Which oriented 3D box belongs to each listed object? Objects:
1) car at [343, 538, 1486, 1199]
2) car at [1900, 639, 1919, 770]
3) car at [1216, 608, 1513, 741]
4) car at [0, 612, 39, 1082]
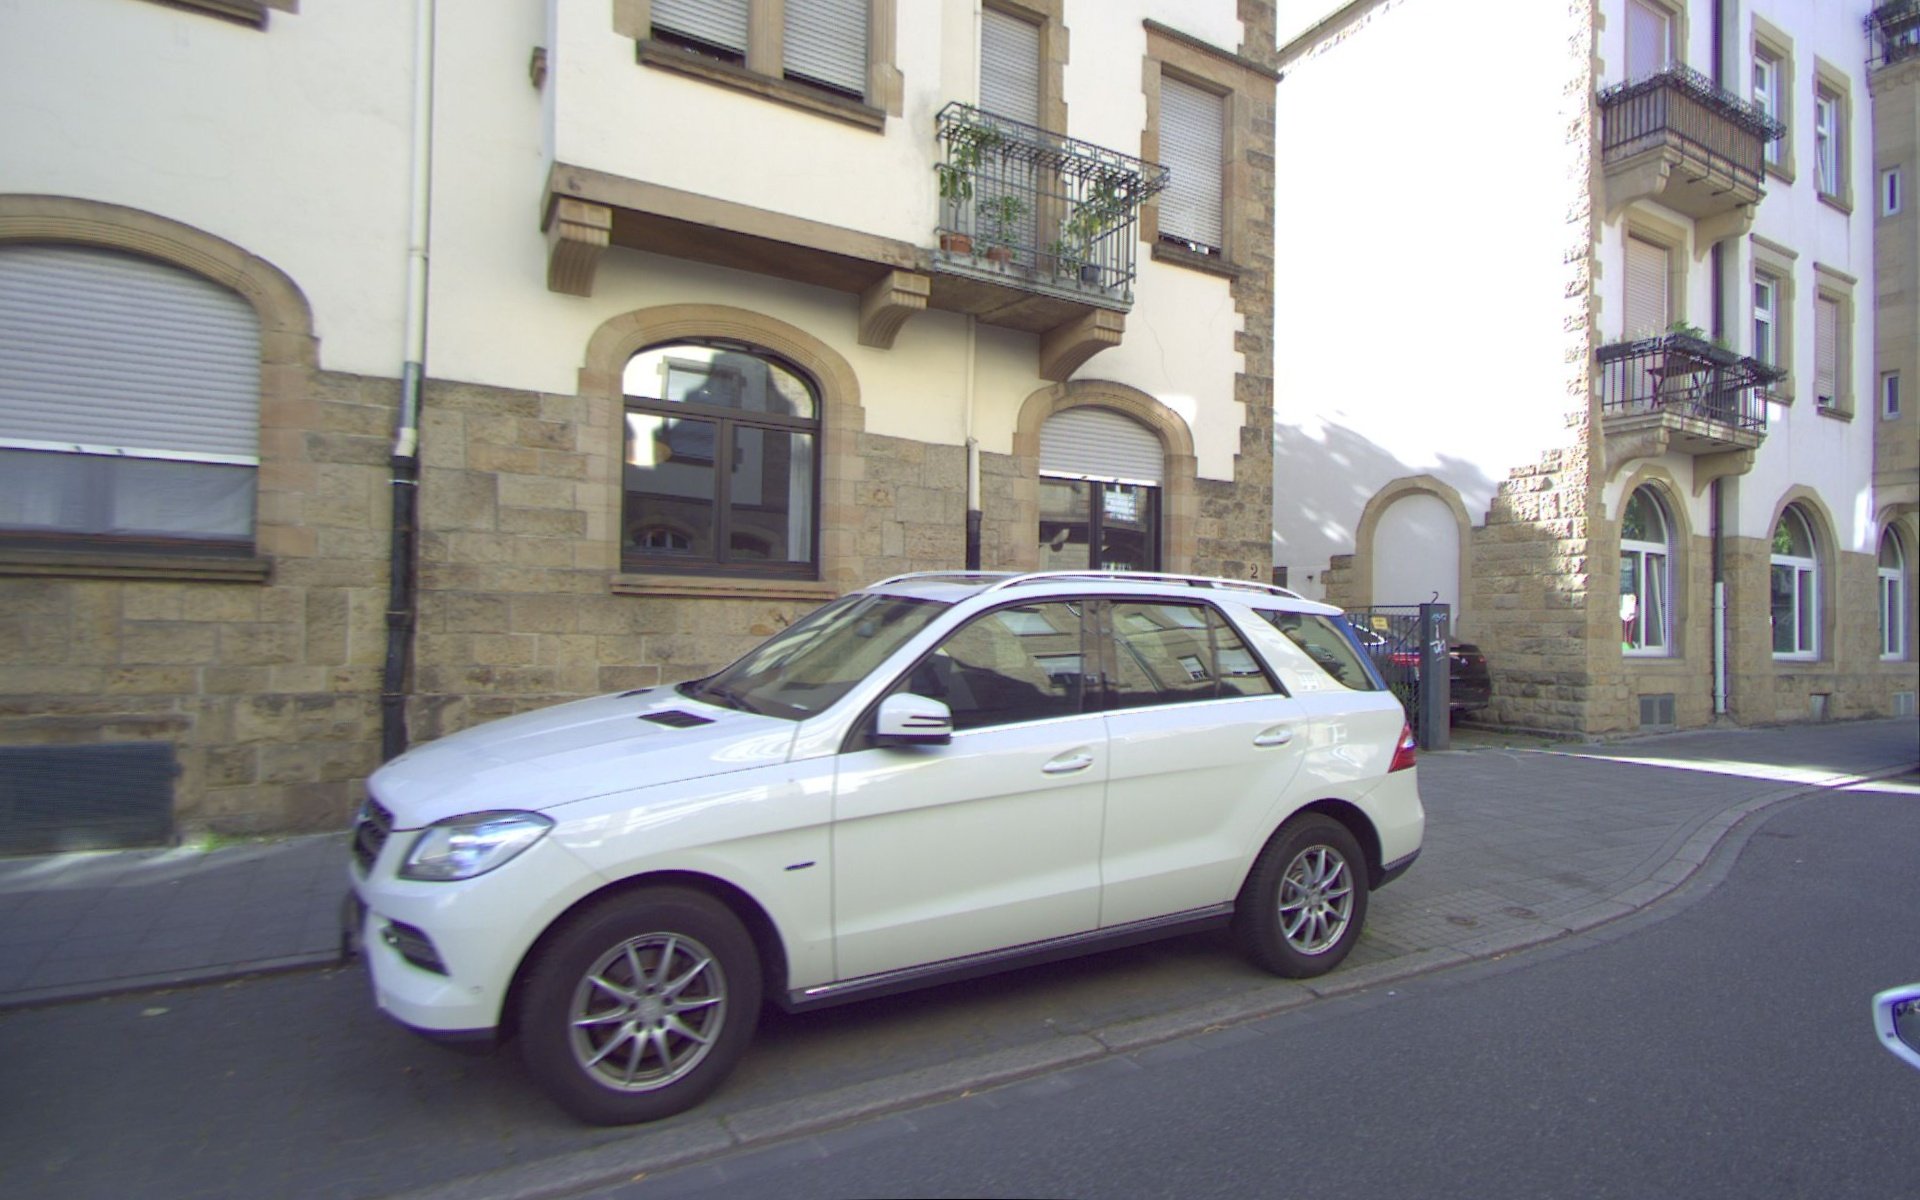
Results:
[{"bbox_3d":[0.036,0.742,4.517,4.669,1.745,1.883,1,1,-29],"label":"car"},{"bbox_3d":[12.878,1.223,11.722,3.686,1.483,1.628,2,-2,-27],"label":"car"},{"bbox_3d":[6.042,1.054,15.464,1.887,1.750,3.951,1,-2,-29],"label":"car"},{"bbox_3d":[-4.680,0.759,1.763,4.229,1.507,1.566,1,0,-30],"label":"car"}]
